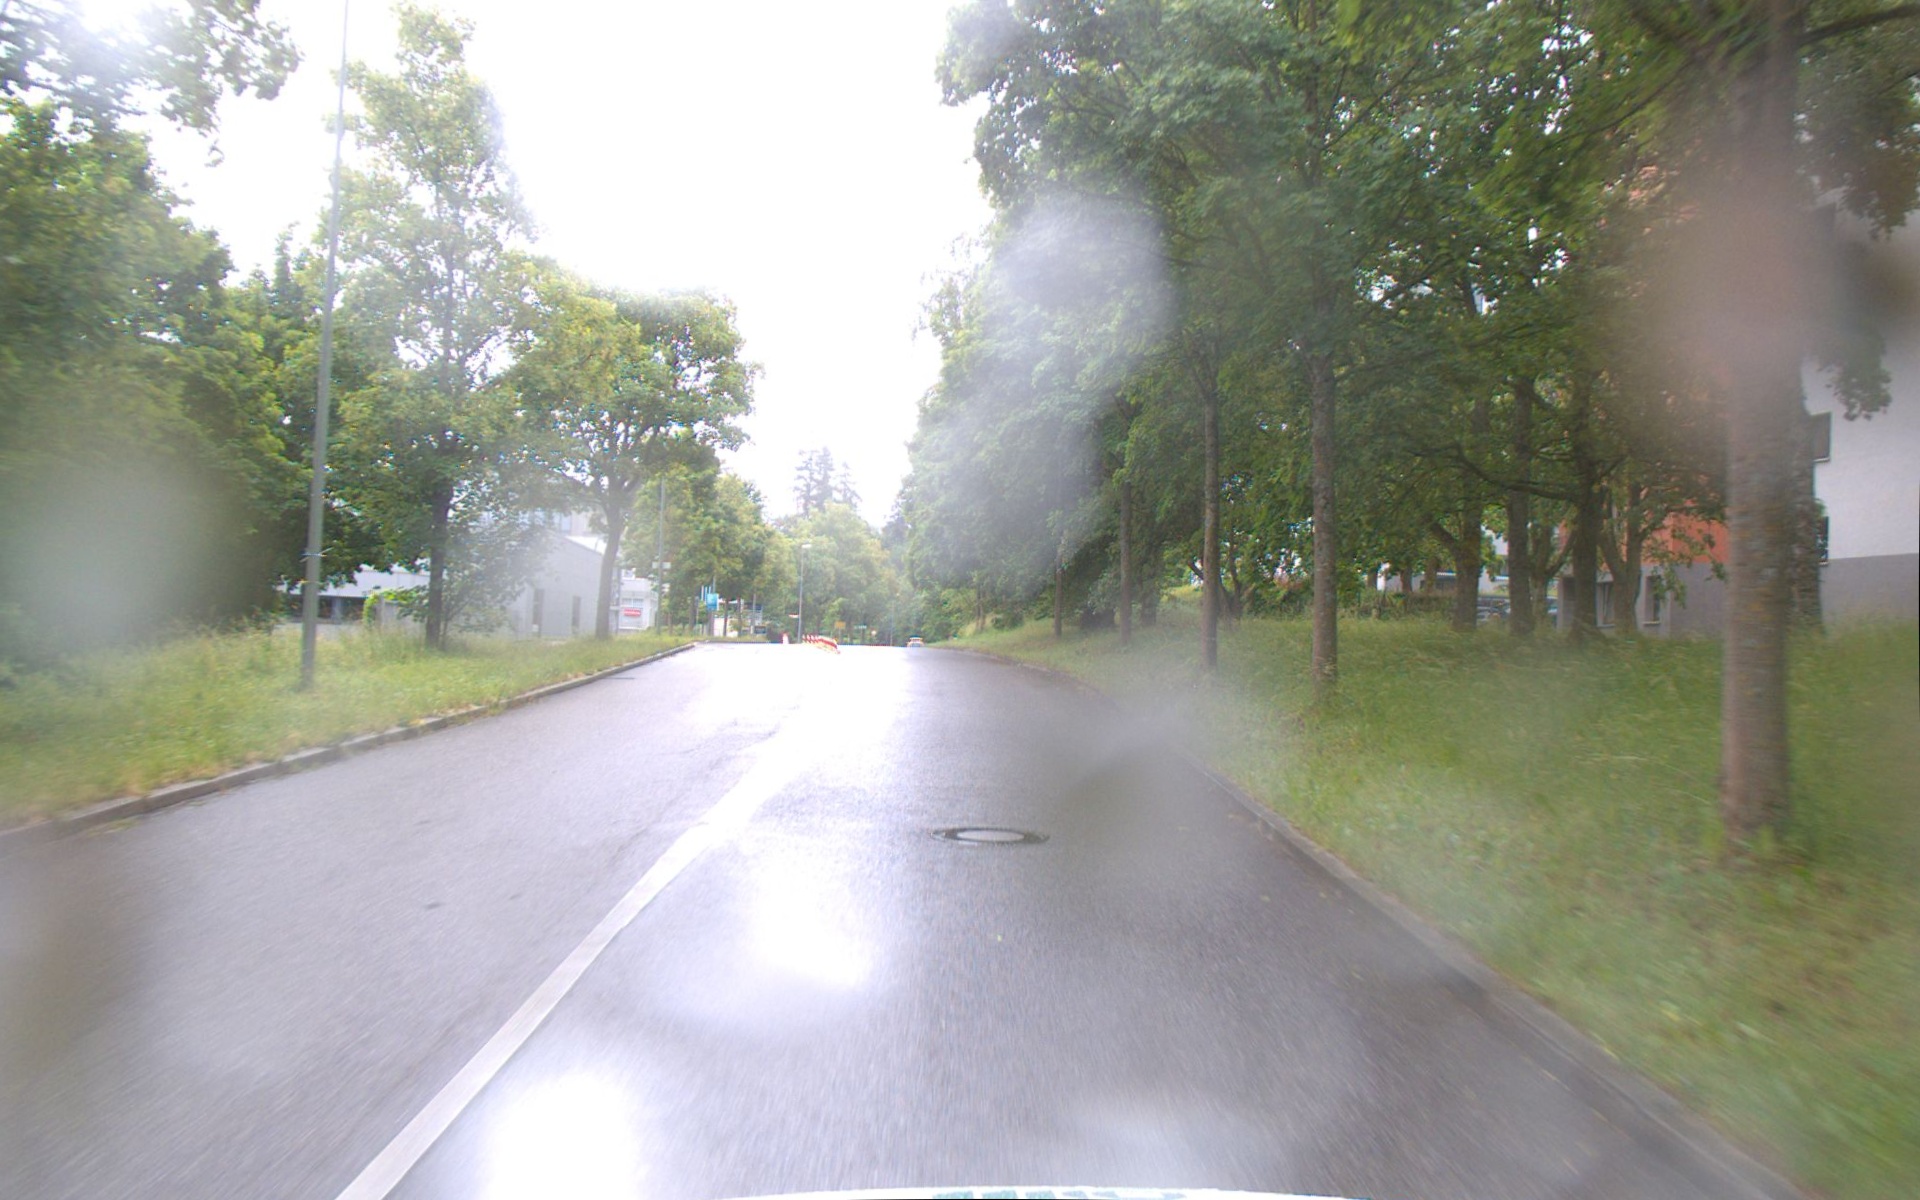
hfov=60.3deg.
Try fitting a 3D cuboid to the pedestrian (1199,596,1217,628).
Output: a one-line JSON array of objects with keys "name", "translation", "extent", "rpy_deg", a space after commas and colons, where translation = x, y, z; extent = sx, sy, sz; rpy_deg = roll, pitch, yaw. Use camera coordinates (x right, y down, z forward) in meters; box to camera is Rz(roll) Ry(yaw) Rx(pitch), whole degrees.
[{"name": "pedestrian", "translation": [10.330, 0.506, 68.866], "extent": [0.641, 1.306, 0.625], "rpy_deg": [0, -1, -1]}]

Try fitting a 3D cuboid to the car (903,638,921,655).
[{"name": "car", "translation": [-4.509, 4.376, 155.252], "extent": [1.701, 1.537, 3.998], "rpy_deg": [0, -2, -1]}]
